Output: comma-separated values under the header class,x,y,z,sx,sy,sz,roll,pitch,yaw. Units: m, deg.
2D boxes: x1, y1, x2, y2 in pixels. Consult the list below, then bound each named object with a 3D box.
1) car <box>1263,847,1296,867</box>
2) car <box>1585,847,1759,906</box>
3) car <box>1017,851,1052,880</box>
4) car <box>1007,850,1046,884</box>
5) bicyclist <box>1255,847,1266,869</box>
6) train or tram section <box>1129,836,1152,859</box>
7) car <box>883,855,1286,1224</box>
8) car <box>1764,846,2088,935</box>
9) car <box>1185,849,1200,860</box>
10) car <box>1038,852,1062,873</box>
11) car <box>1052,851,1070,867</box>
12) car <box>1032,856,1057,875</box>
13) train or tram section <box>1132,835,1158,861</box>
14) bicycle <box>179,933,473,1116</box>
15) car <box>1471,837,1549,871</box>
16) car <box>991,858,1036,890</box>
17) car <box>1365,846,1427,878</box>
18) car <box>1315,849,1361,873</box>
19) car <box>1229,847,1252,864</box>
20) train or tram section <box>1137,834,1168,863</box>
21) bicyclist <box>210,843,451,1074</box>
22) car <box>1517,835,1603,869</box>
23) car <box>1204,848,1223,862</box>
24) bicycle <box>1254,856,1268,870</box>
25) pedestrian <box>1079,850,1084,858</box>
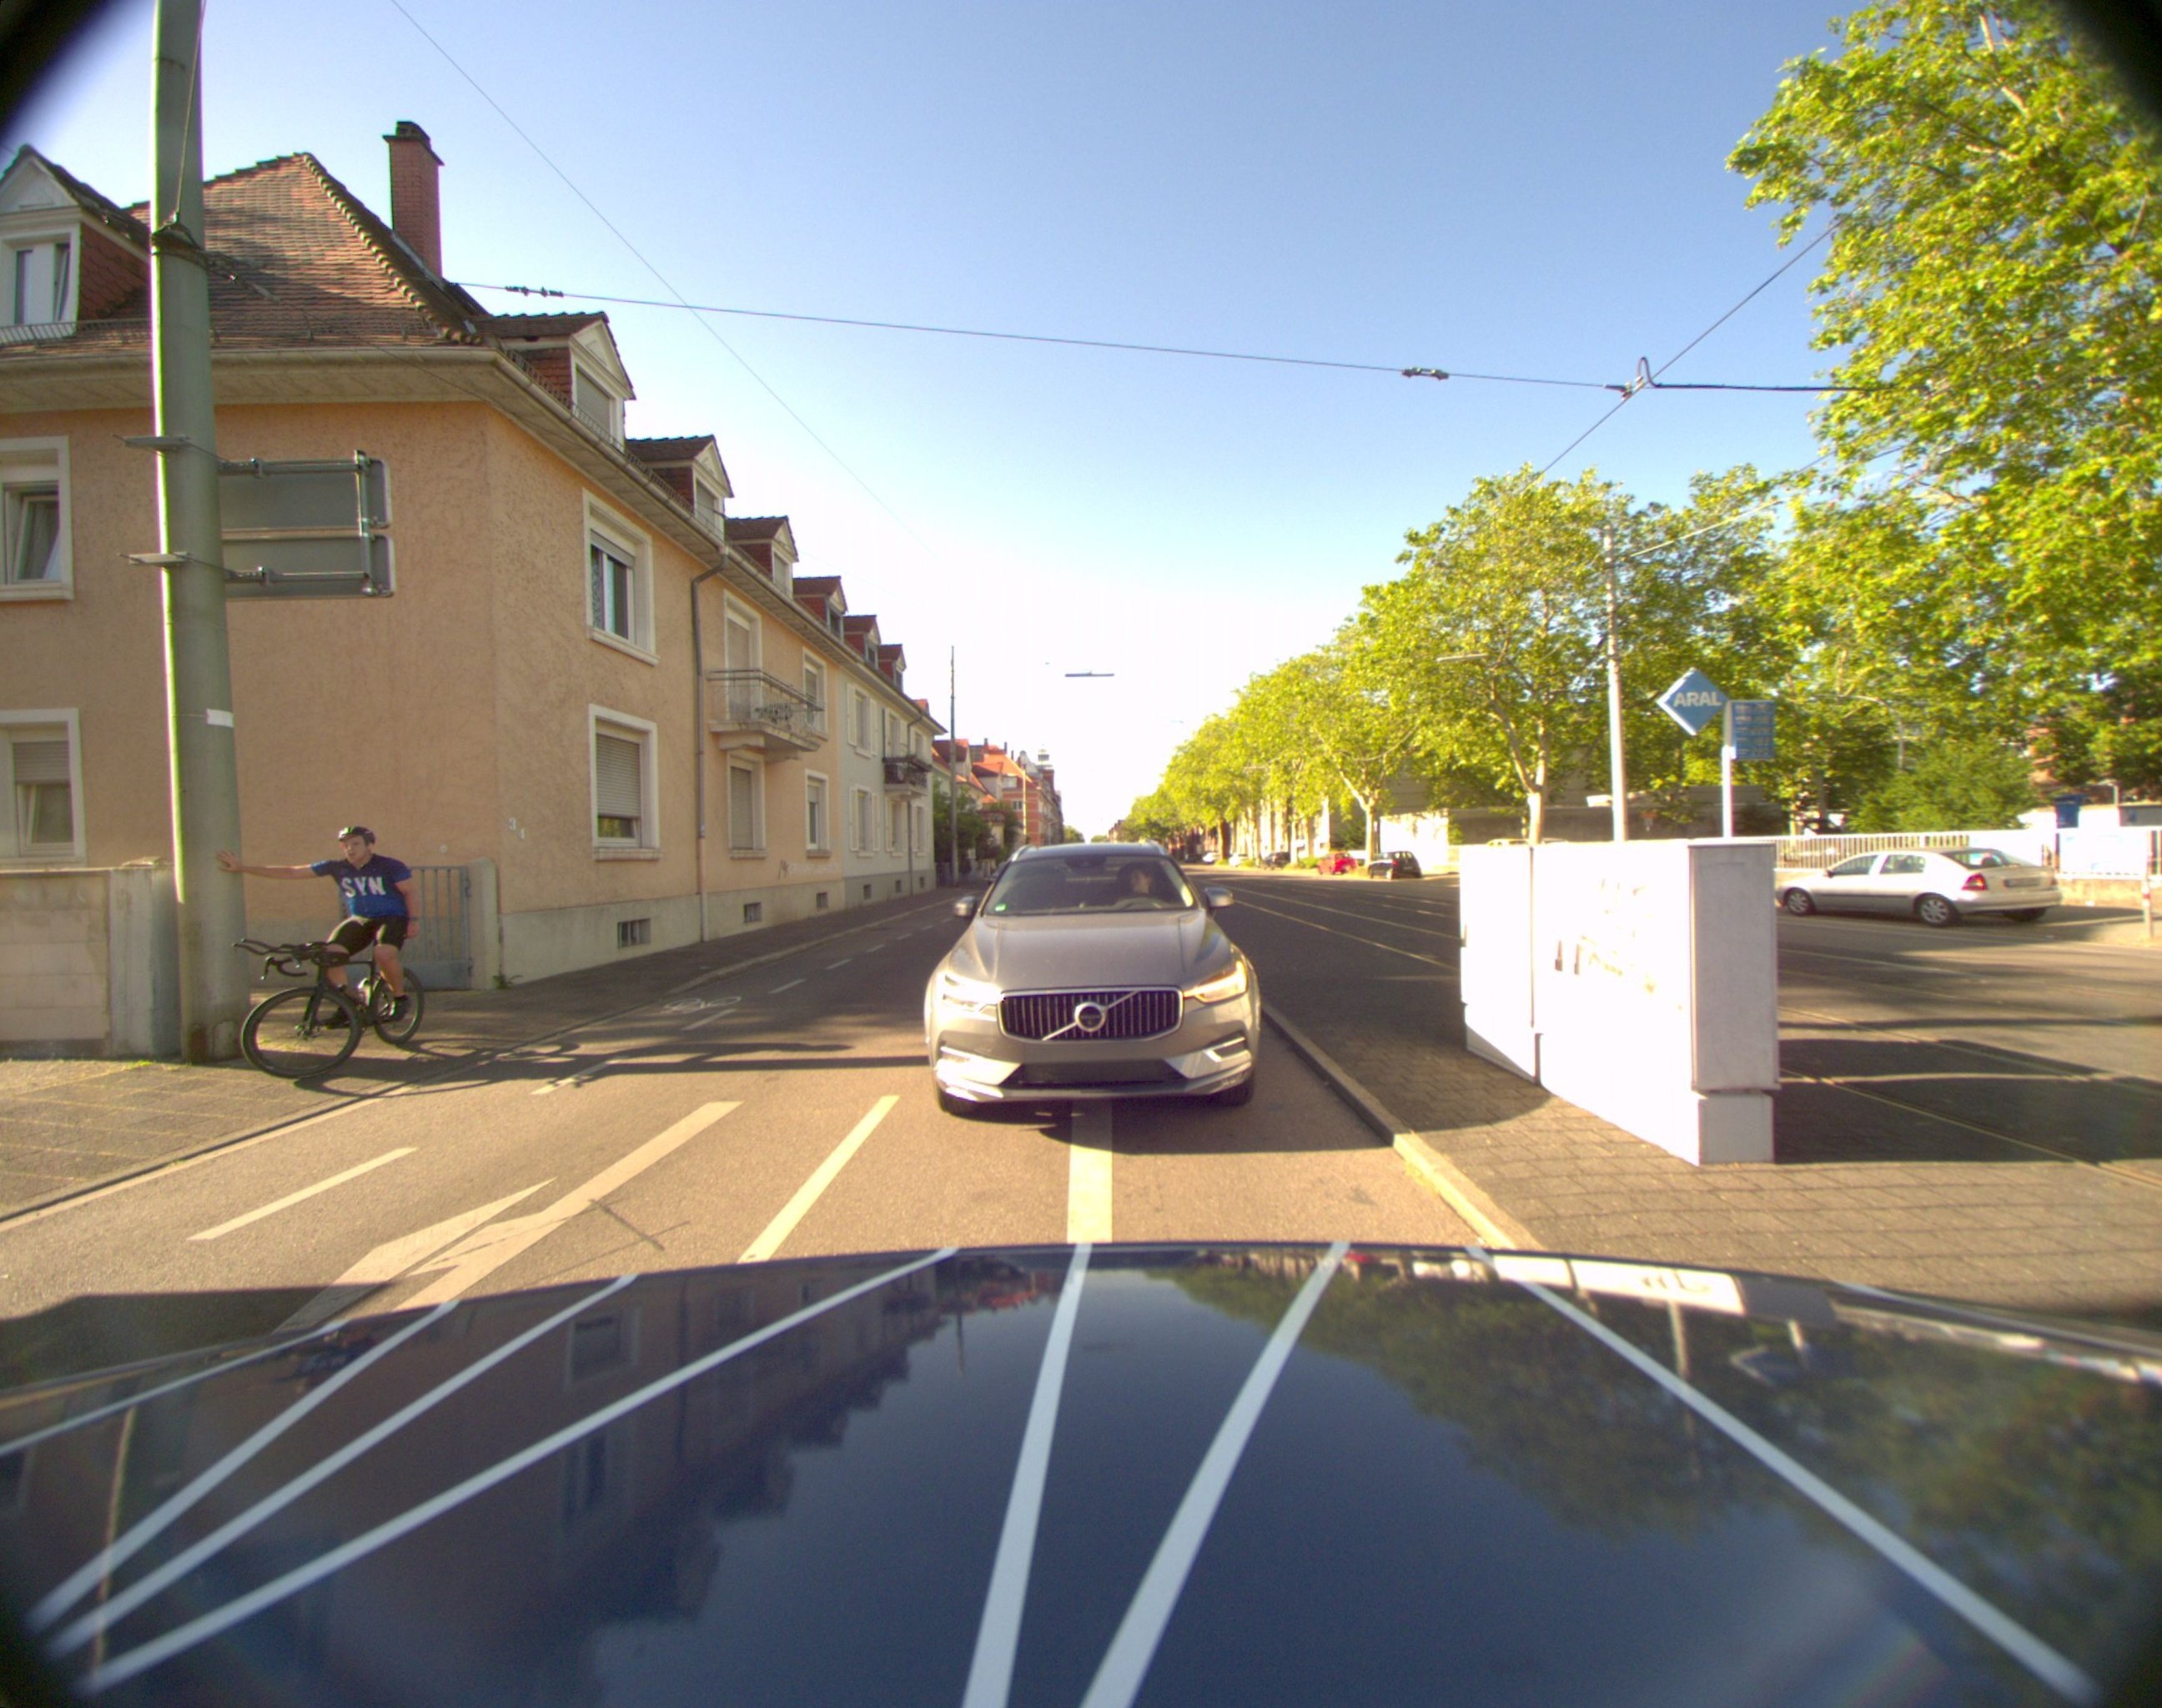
class,x,y,z,sx,sy,sz,roll,pitch,yaw
car,17.170,0.226,65.893,1.845,1.607,4.098,-4,0,3
car,16.517,0.569,21.547,1.845,1.400,4.138,-4,0,4
car,-2.794,0.660,46.781,1.847,1.681,4.000,-1,0,0
car,-2.966,0.686,42.239,1.847,1.742,4.144,-1,0,0
bicyclist,15.499,0.340,65.636,0.720,1.853,1.071,-1,1,0
train or tram section,9.327,-1.047,120.608,2.843,3.456,10.182,-2,1,1
car,0.000,0.888,5.785,1.892,1.695,4.318,-1,0,-1
car,16.234,0.618,14.974,1.846,1.400,3.999,-4,0,-1
car,18.372,-0.005,125.407,1.845,1.664,4.098,-4,0,3
car,-2.674,0.695,65.767,1.847,1.681,4.000,-1,0,0
car,-2.241,0.551,85.482,1.999,1.641,4.658,-1,0,-1
car,-2.878,0.860,60.404,1.808,1.402,3.999,-1,0,-1
train or tram section,9.251,-0.873,110.501,2.843,3.456,10.181,-2,1,0
bicycle,-5.930,1.276,6.133,0.594,1.045,1.719,4,1,1
car,21.749,-0.025,38.712,1.845,1.524,4.001,-4,0,4
car,-3.230,0.946,36.974,1.847,1.412,3.999,-1,0,-1
car,16.967,0.410,41.084,1.845,1.524,4.001,-4,0,4
car,16.962,0.447,50.308,1.845,1.400,4.001,-4,0,3
car,17.492,0.120,83.541,1.845,1.664,4.098,-4,0,3
train or tram section,9.325,-0.739,100.354,2.862,3.456,10.180,-2,1,-1
bicyclist,-6.173,0.810,6.314,1.071,1.728,0.853,4,1,1
car,24.043,-0.109,38.334,1.845,1.524,4.000,-4,0,2
car,17.598,0.078,100.904,1.845,1.664,4.098,-4,0,3
bicycle,15.548,0.759,65.604,0.654,1.114,2.533,-1,0,1
pedestrian,0.141,-0.104,195.128,1.104,2.002,1.242,-1,1,1
